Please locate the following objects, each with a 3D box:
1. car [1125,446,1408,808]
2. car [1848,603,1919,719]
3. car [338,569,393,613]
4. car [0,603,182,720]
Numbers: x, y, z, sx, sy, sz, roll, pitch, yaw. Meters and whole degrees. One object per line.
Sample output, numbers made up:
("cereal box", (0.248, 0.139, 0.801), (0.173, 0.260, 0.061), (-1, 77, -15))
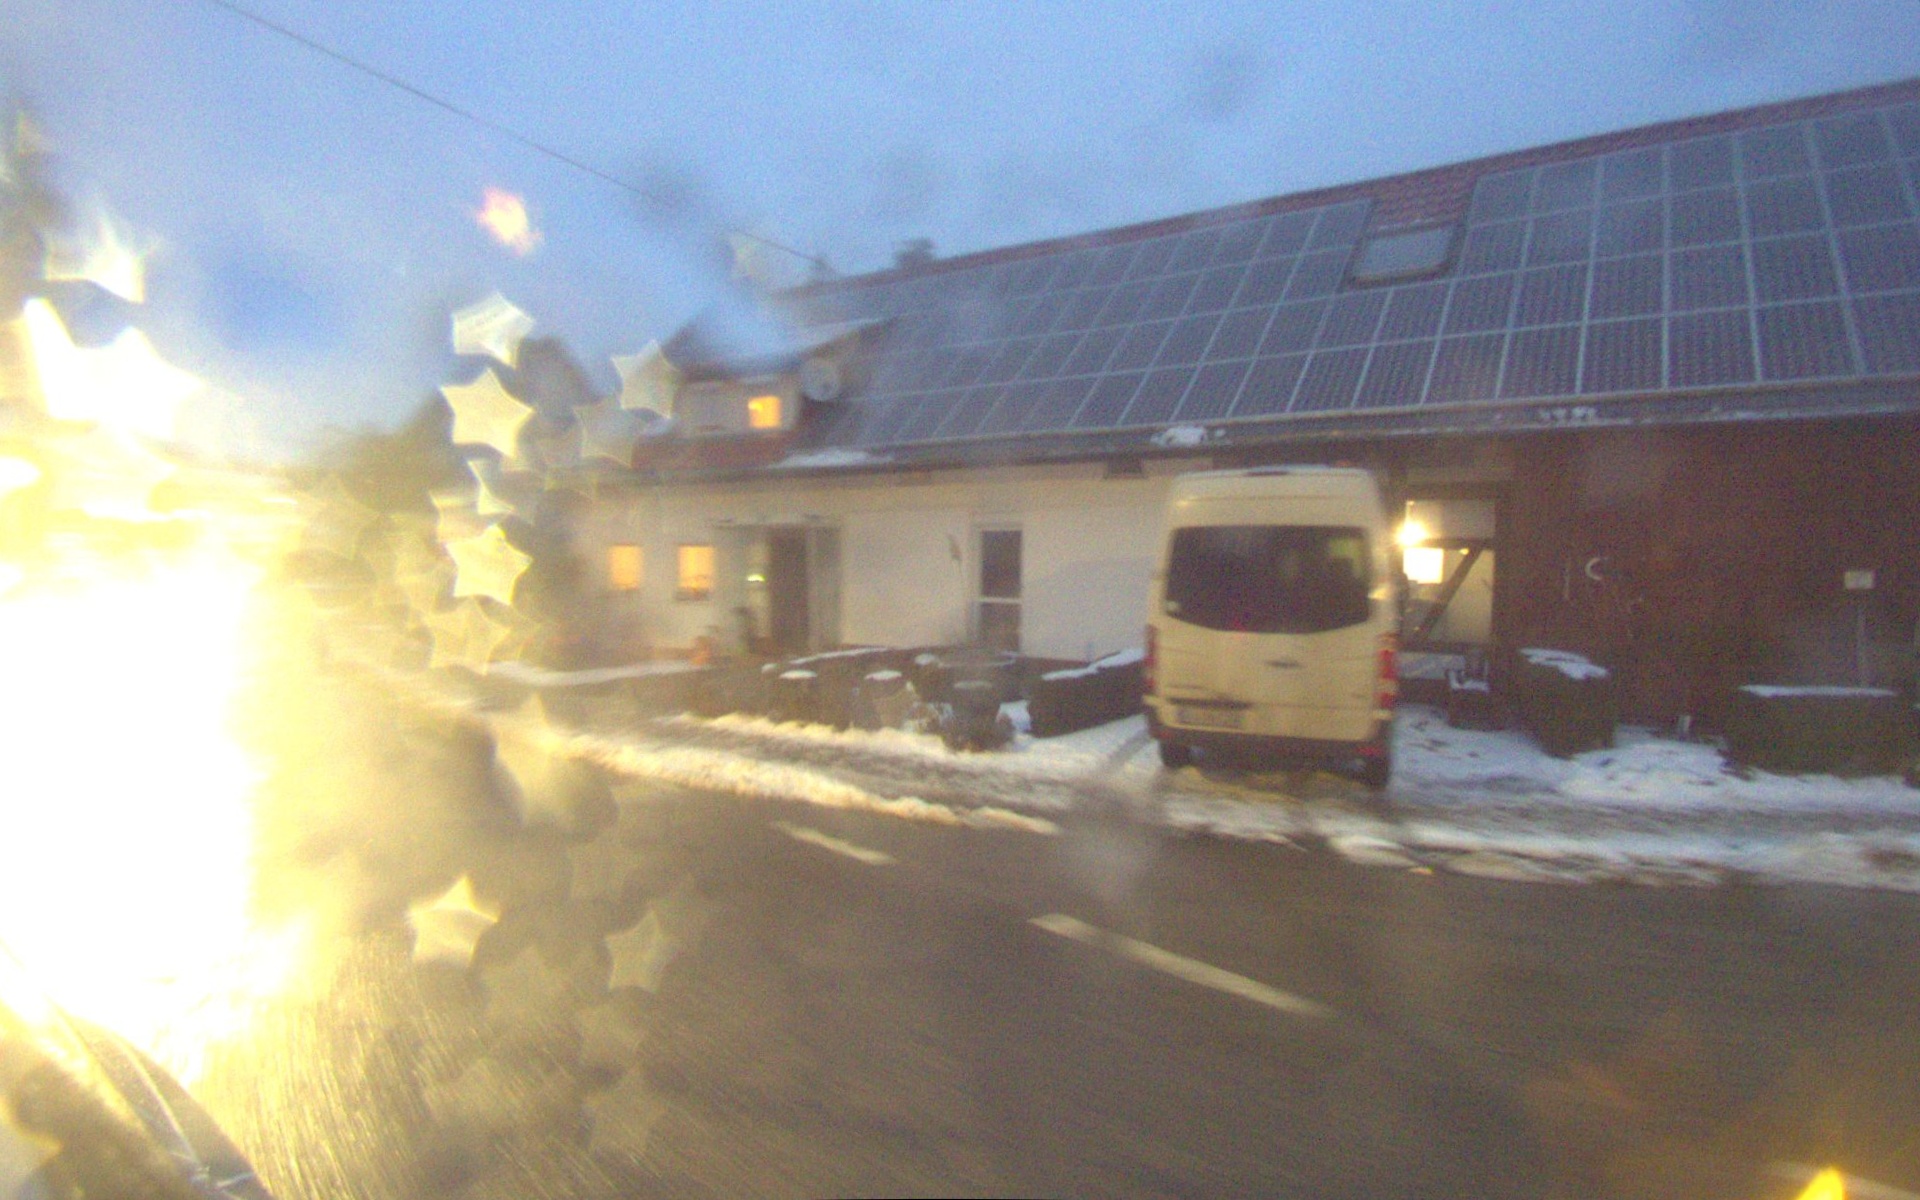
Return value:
("car", (3.396, 0.000, 10.362), (1.987, 2.572, 6.070), (2, 4, 23))
("car", (19.046, 1.257, 17.439), (2.180, 2.028, 5.288), (6, -2, -40))
("car", (-30.859, -0.498, 52.502), (1.968, 2.052, 4.092), (-5, 5, -36))
("car", (-12.681, 0.783, 14.720), (1.968, 1.392, 4.942), (2, -1, -39))
